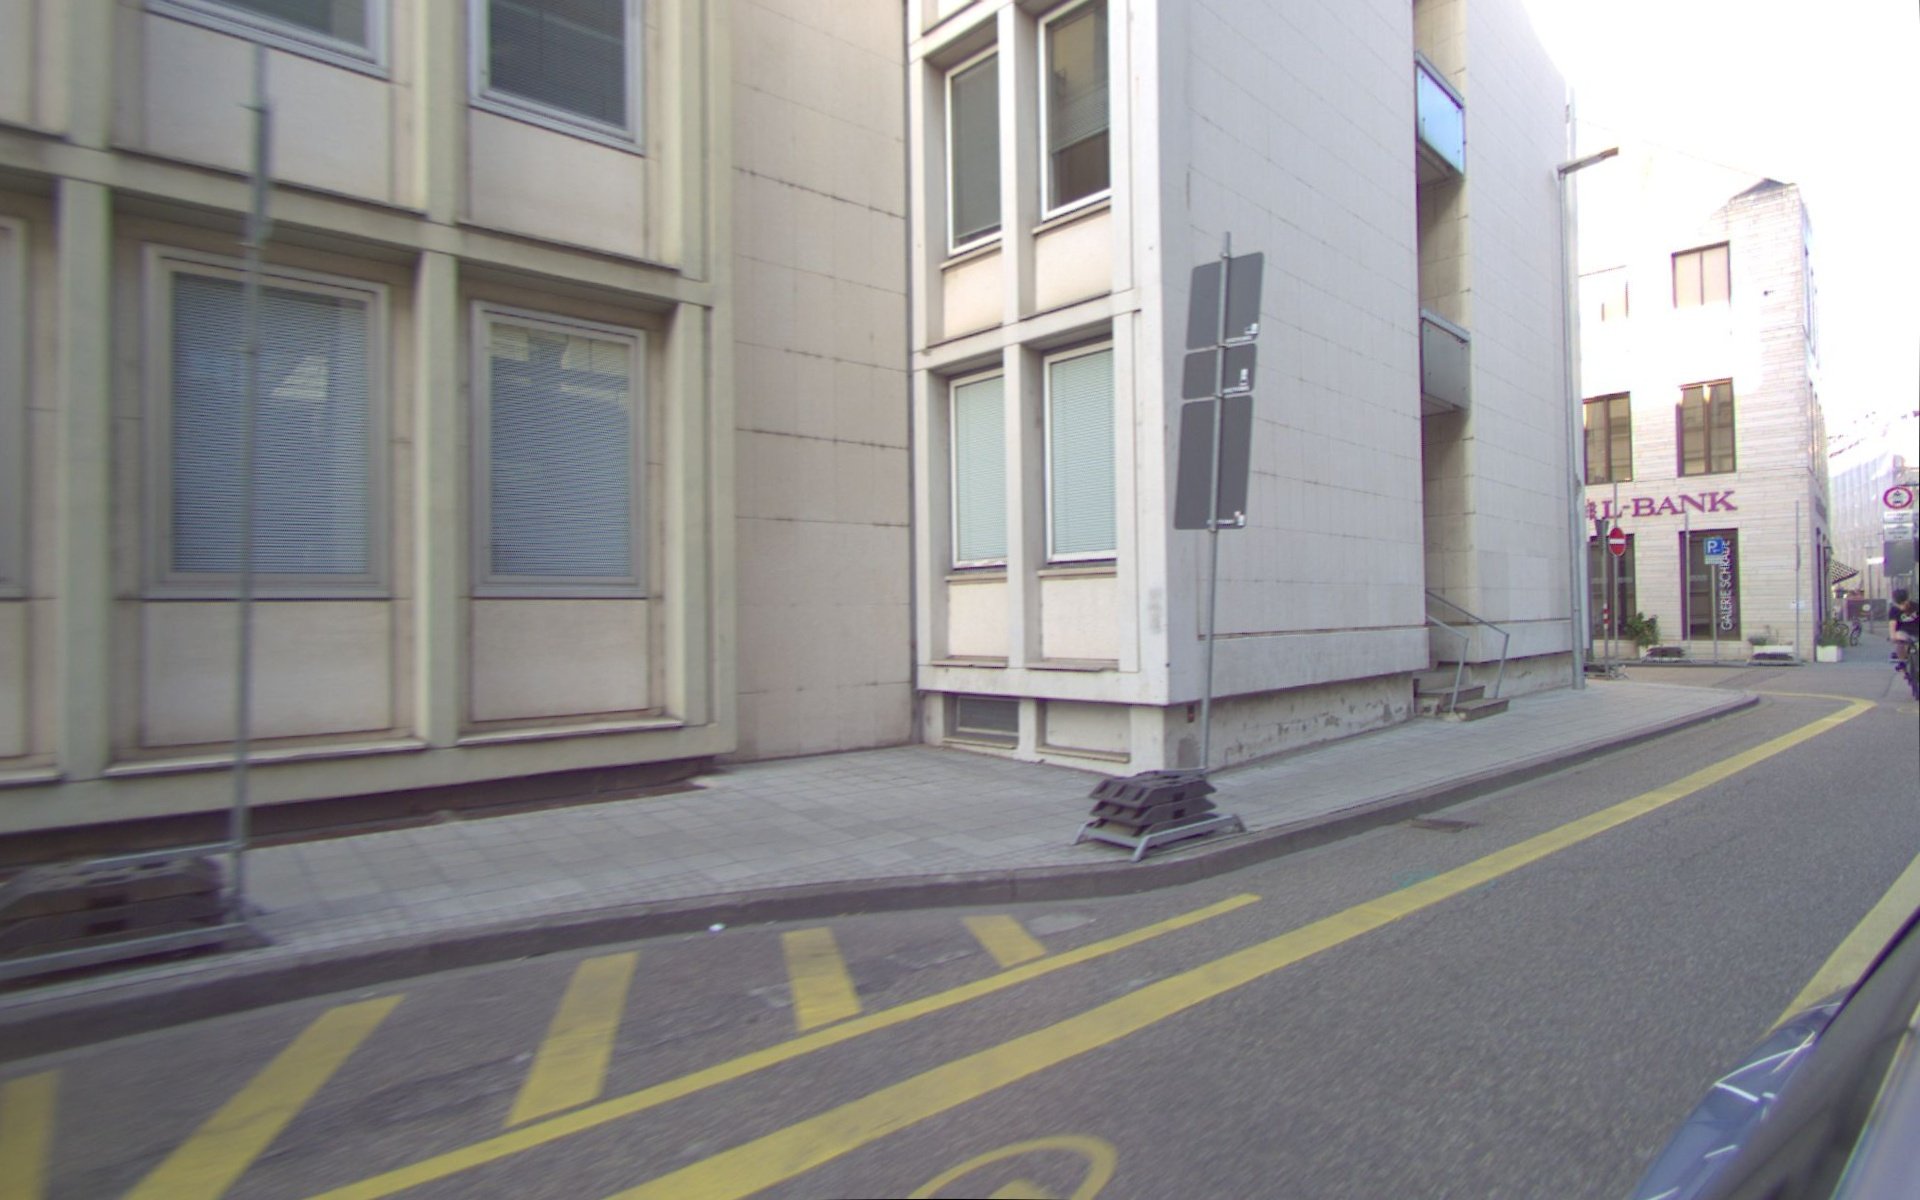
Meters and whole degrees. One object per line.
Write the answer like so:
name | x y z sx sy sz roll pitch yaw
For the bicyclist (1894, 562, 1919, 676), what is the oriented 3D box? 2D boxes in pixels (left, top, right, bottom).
bicyclist | 14.967 0.291 15.684 0.540 1.753 0.502 -1 0 -13

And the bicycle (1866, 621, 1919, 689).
bicycle | 15.043 0.829 15.712 1.782 0.986 0.512 -1 0 -13
